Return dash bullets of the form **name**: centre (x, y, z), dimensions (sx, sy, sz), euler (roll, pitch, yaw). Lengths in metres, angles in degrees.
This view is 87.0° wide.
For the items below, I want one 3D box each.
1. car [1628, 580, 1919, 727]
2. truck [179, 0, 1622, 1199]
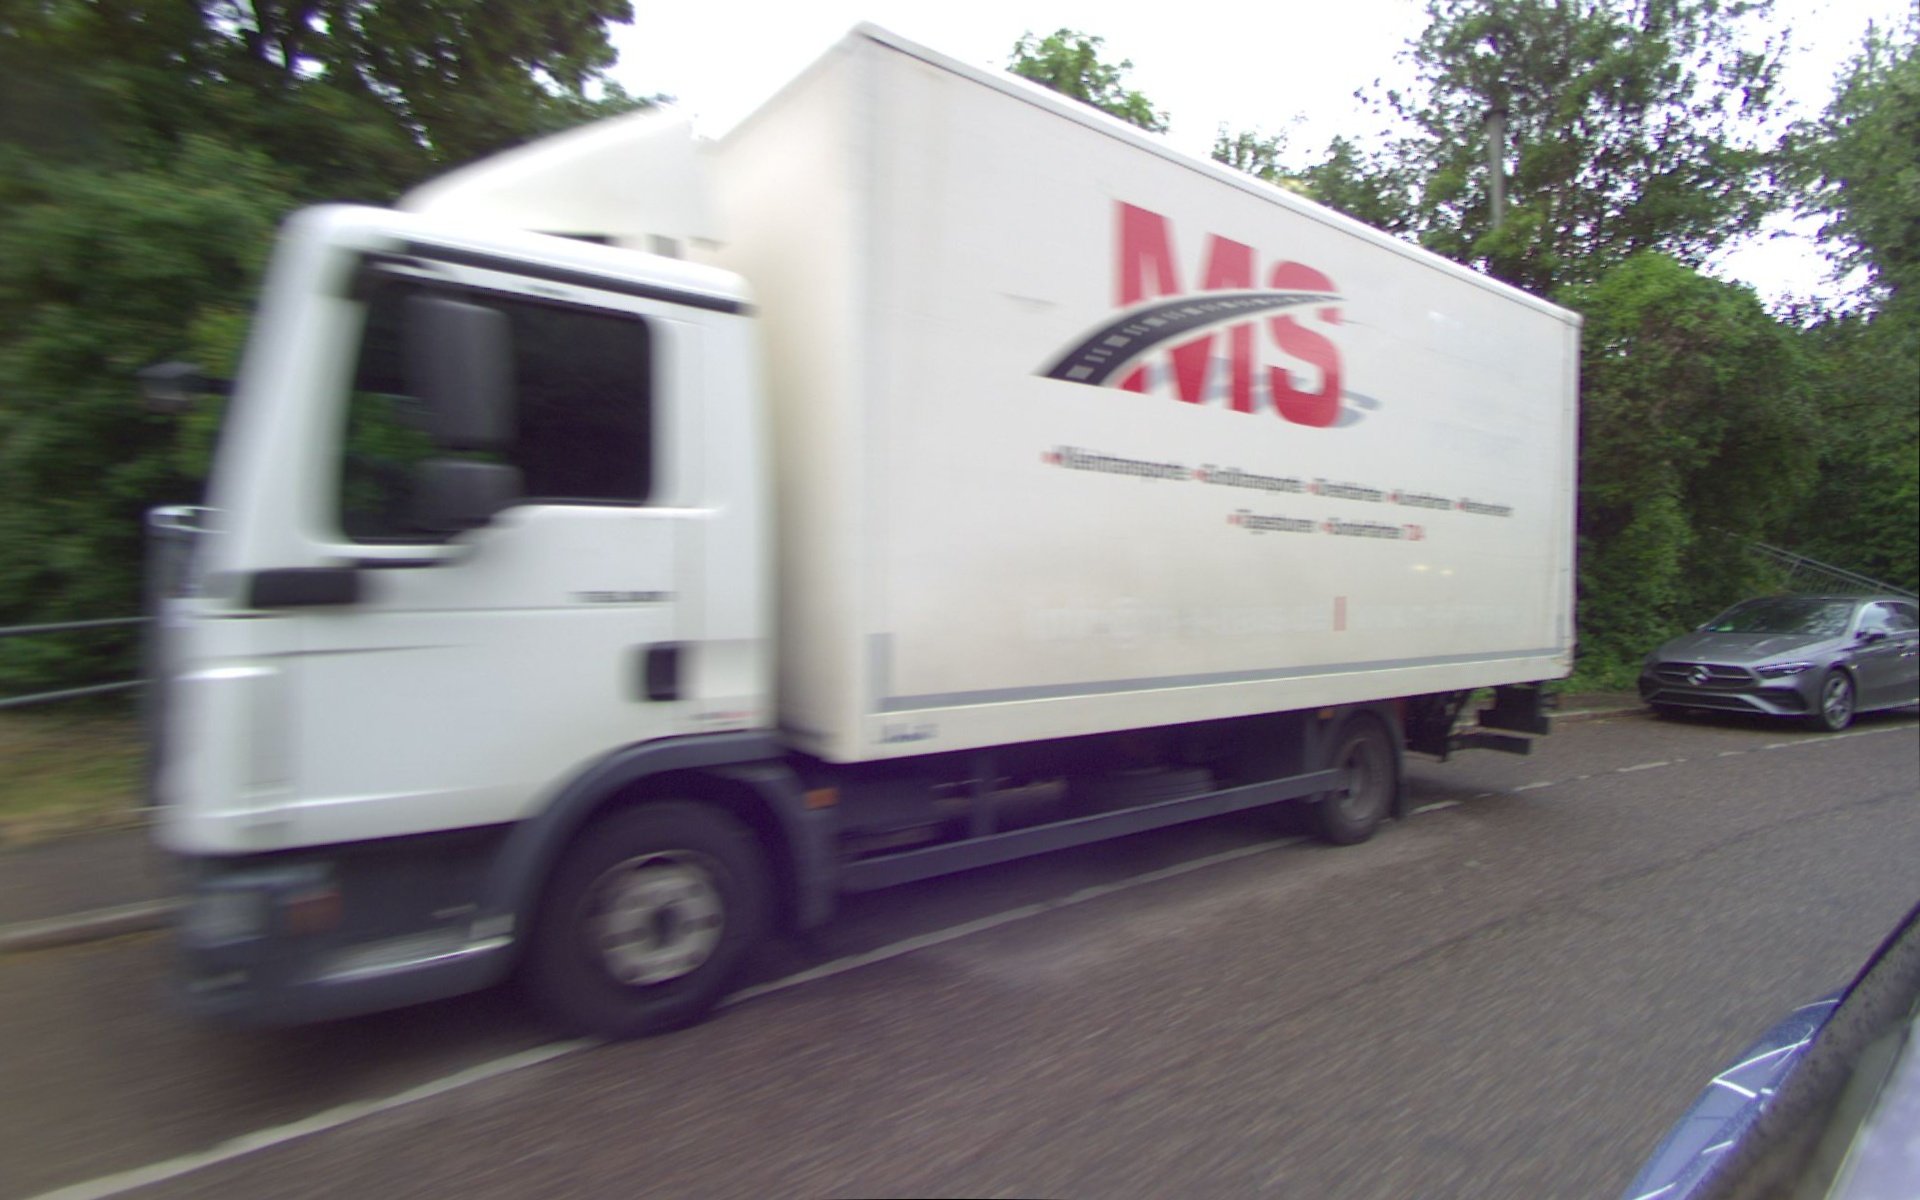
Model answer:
- **car**: centre (9.907, 0.519, 11.748), dimensions (4.039, 1.462, 1.729), euler (0, 0, -25)
- **truck**: centre (0.601, -0.520, 5.933), dimensions (8.185, 3.618, 3.015), euler (-1, 2, -38)
